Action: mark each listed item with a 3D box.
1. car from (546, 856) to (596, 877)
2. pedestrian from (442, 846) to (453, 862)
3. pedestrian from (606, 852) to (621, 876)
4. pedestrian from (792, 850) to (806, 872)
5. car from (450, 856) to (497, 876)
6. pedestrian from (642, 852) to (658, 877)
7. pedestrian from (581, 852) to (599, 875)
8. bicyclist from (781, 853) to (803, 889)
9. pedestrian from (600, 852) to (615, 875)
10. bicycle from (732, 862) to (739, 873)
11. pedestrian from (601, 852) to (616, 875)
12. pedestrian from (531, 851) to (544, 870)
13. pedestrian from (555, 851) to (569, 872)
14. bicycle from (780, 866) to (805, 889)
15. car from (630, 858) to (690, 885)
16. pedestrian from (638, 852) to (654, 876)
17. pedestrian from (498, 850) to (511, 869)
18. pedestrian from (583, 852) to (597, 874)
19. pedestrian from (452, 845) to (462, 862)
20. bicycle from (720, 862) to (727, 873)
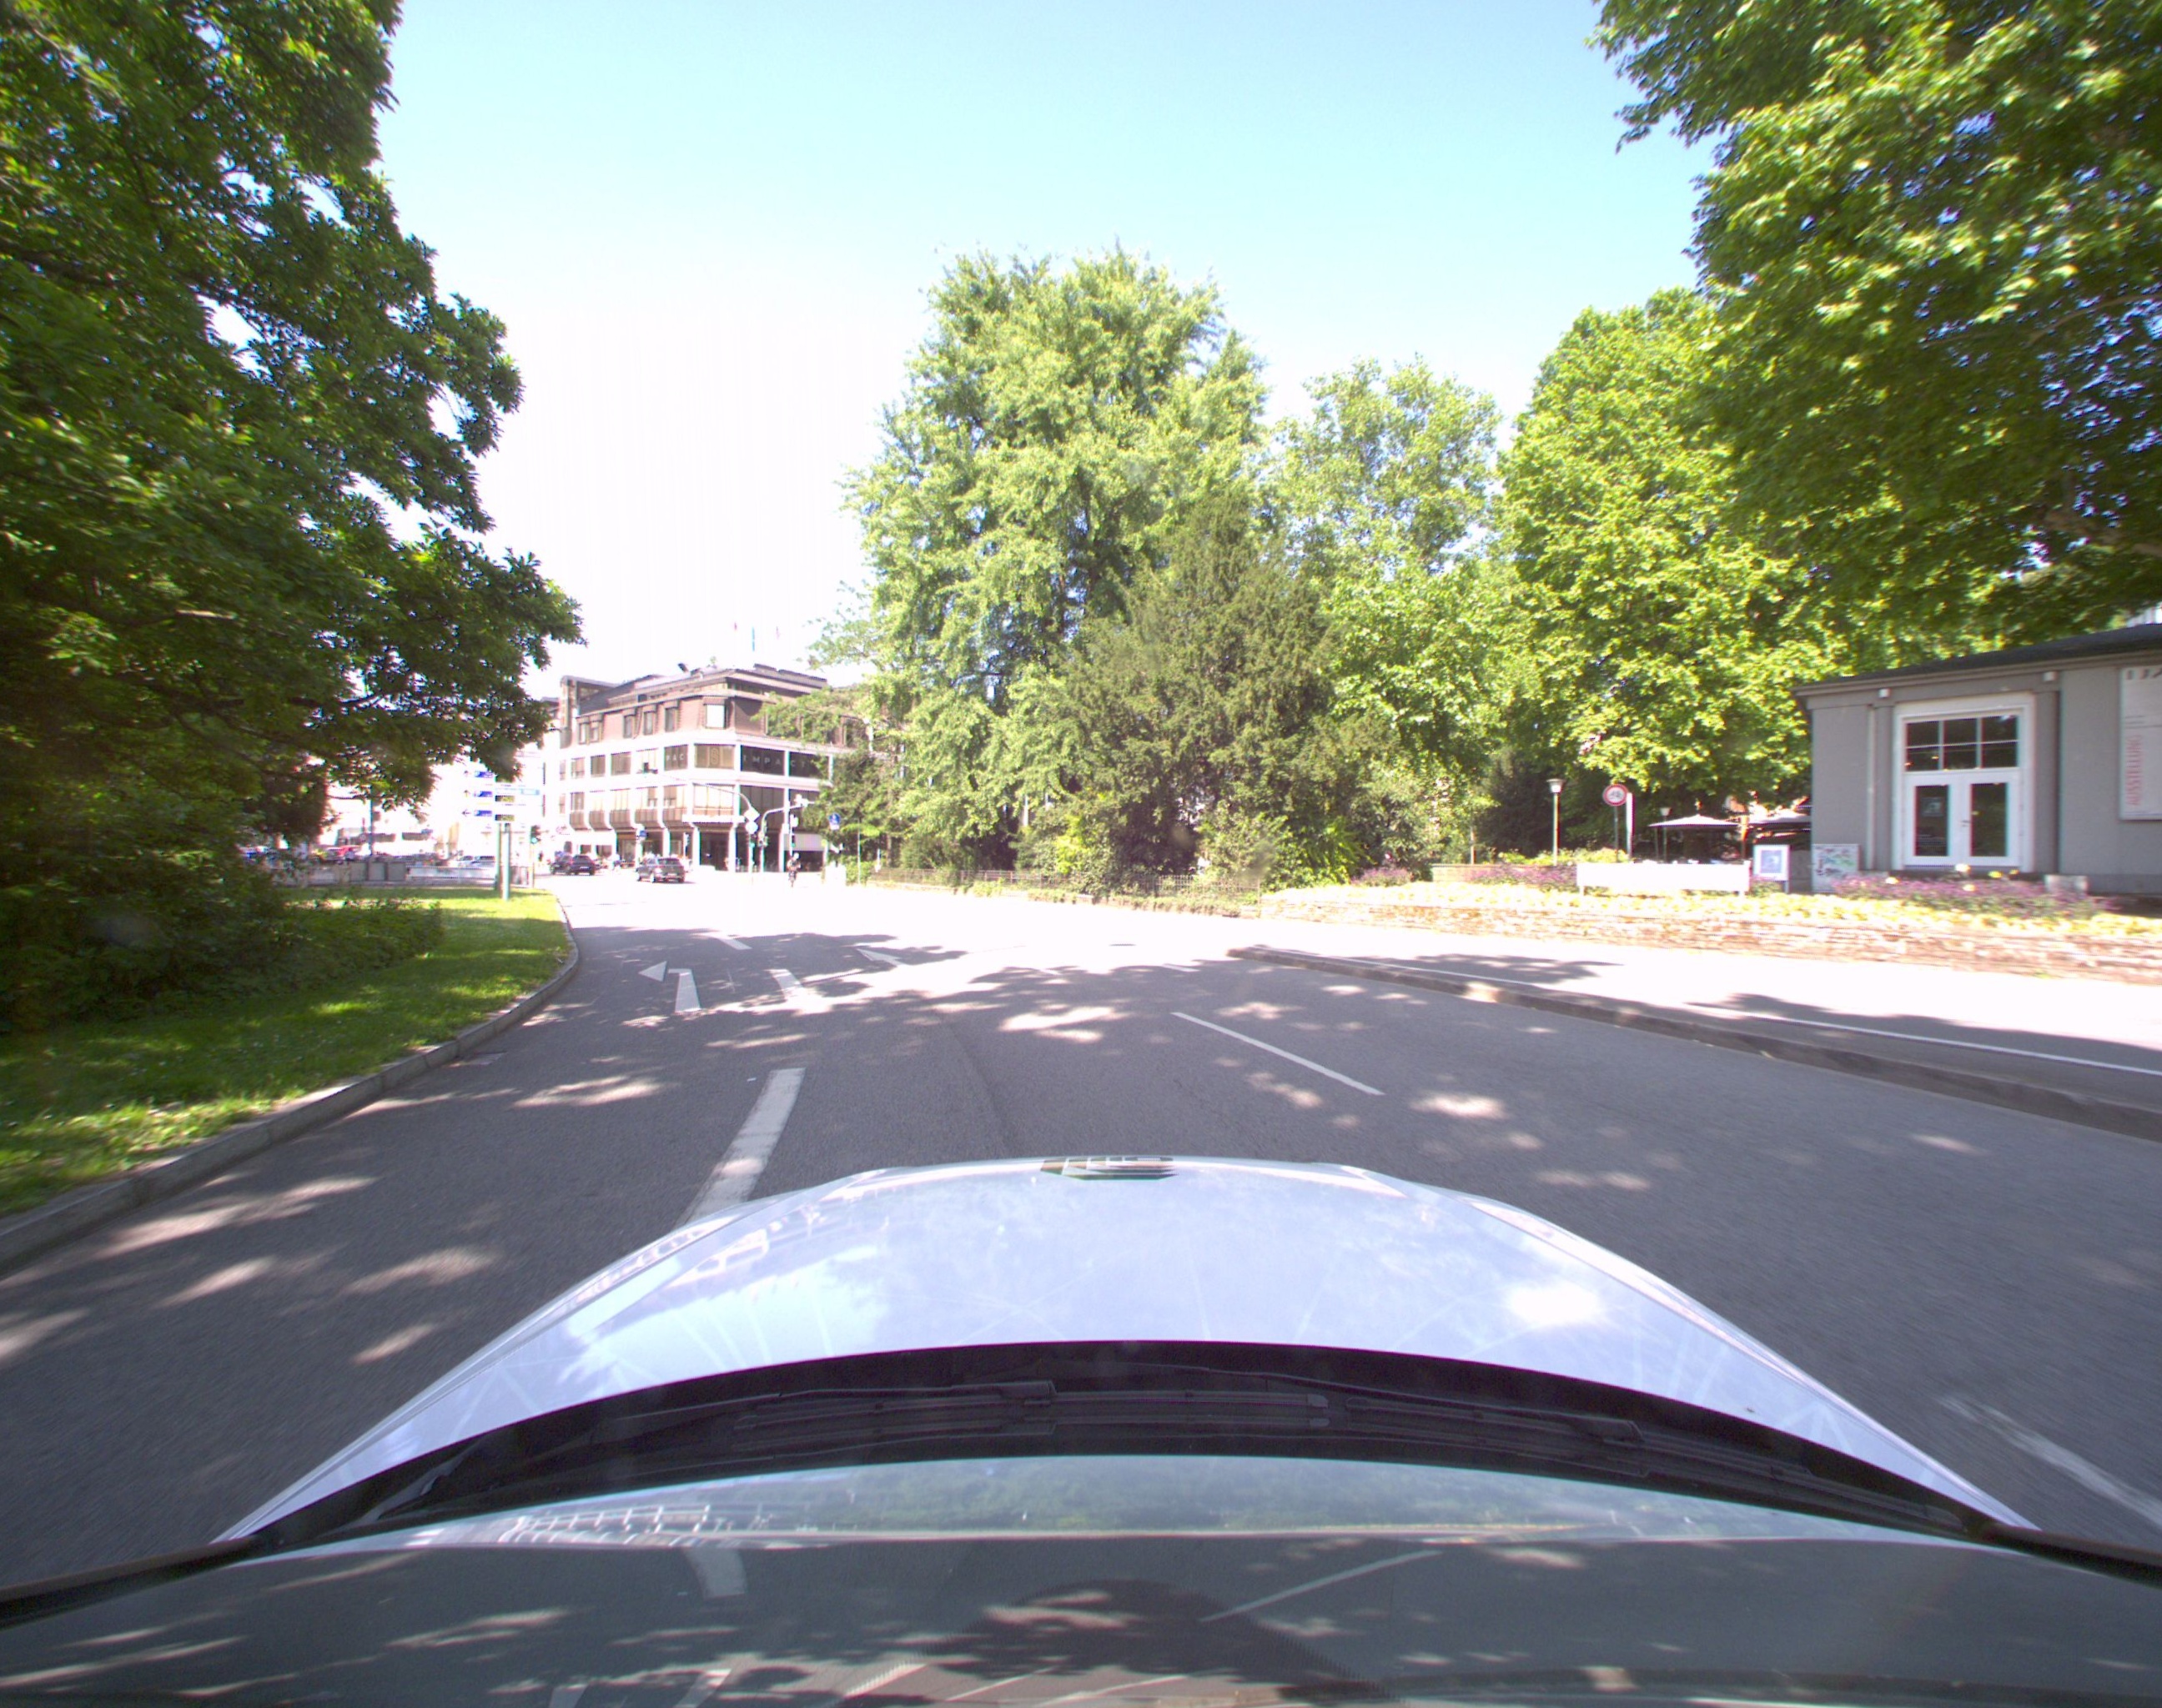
[{"bbox_3d":[-36.099,0.872,57.624,3.745,1.409,1.843,0,-1,39],"label":"car"},{"bbox_3d":[-71.549,-0.044,91.985,0.819,1.812,0.778,1,0,40],"label":"pedestrian"},{"bbox_3d":[-35.796,0.728,62.361,0.819,1.812,0.778,1,0,41],"label":"pedestrian"},{"bbox_3d":[-26.939,0.678,77.729,0.853,2.014,0.993,-1,-1,42],"label":"pedestrian"},{"bbox_3d":[-43.914,0.848,58.864,3.744,1.409,1.852,0,-1,39],"label":"car"},{"bbox_3d":[-31.195,0.760,58.906,0.819,1.812,0.778,1,0,41],"label":"pedestrian"},{"bbox_3d":[-38.683,0.735,64.127,0.938,1.812,0.983,1,0,41],"label":"pedestrian"},{"bbox_3d":[-14.851,0.871,41.878,0.864,1.796,1.119,1,0,-30],"label":"bicyclist"},{"bbox_3d":[-38.152,0.752,65.660,0.819,1.812,0.778,1,0,41],"label":"pedestrian"},{"bbox_3d":[-28.562,1.096,67.288,0.509,0.901,1.510,0,-1,-24],"label":"bicycle"},{"bbox_3d":[-36.560,0.731,63.041,0.819,1.812,0.778,1,0,41],"label":"pedestrian"},{"bbox_3d":[-51.547,0.638,77.276,0.819,1.812,0.778,1,0,40],"label":"pedestrian"},{"bbox_3d":[-45.532,0.625,71.430,0.819,1.812,0.778,1,0,40],"label":"pedestrian"},{"bbox_3d":[-14.867,1.198,41.910,0.859,1.160,2.064,1,0,-29],"label":"bicycle"},{"bbox_3d":[-25.137,1.023,48.552,4.031,1.537,1.965,0,-1,44],"label":"car"},{"bbox_3d":[-33.257,0.781,62.275,0.819,1.812,0.778,1,0,41],"label":"pedestrian"},{"bbox_3d":[-55.846,0.566,78.893,0.819,1.812,0.778,1,0,40],"label":"pedestrian"},{"bbox_3d":[-40.795,0.729,67.626,0.819,1.812,0.778,1,0,41],"label":"pedestrian"},{"bbox_3d":[-71.009,-0.055,92.666,0.819,1.812,0.778,1,0,40],"label":"pedestrian"},{"bbox_3d":[-29.379,1.079,66.898,0.509,0.901,1.510,0,-1,-24],"label":"bicycle"}]
